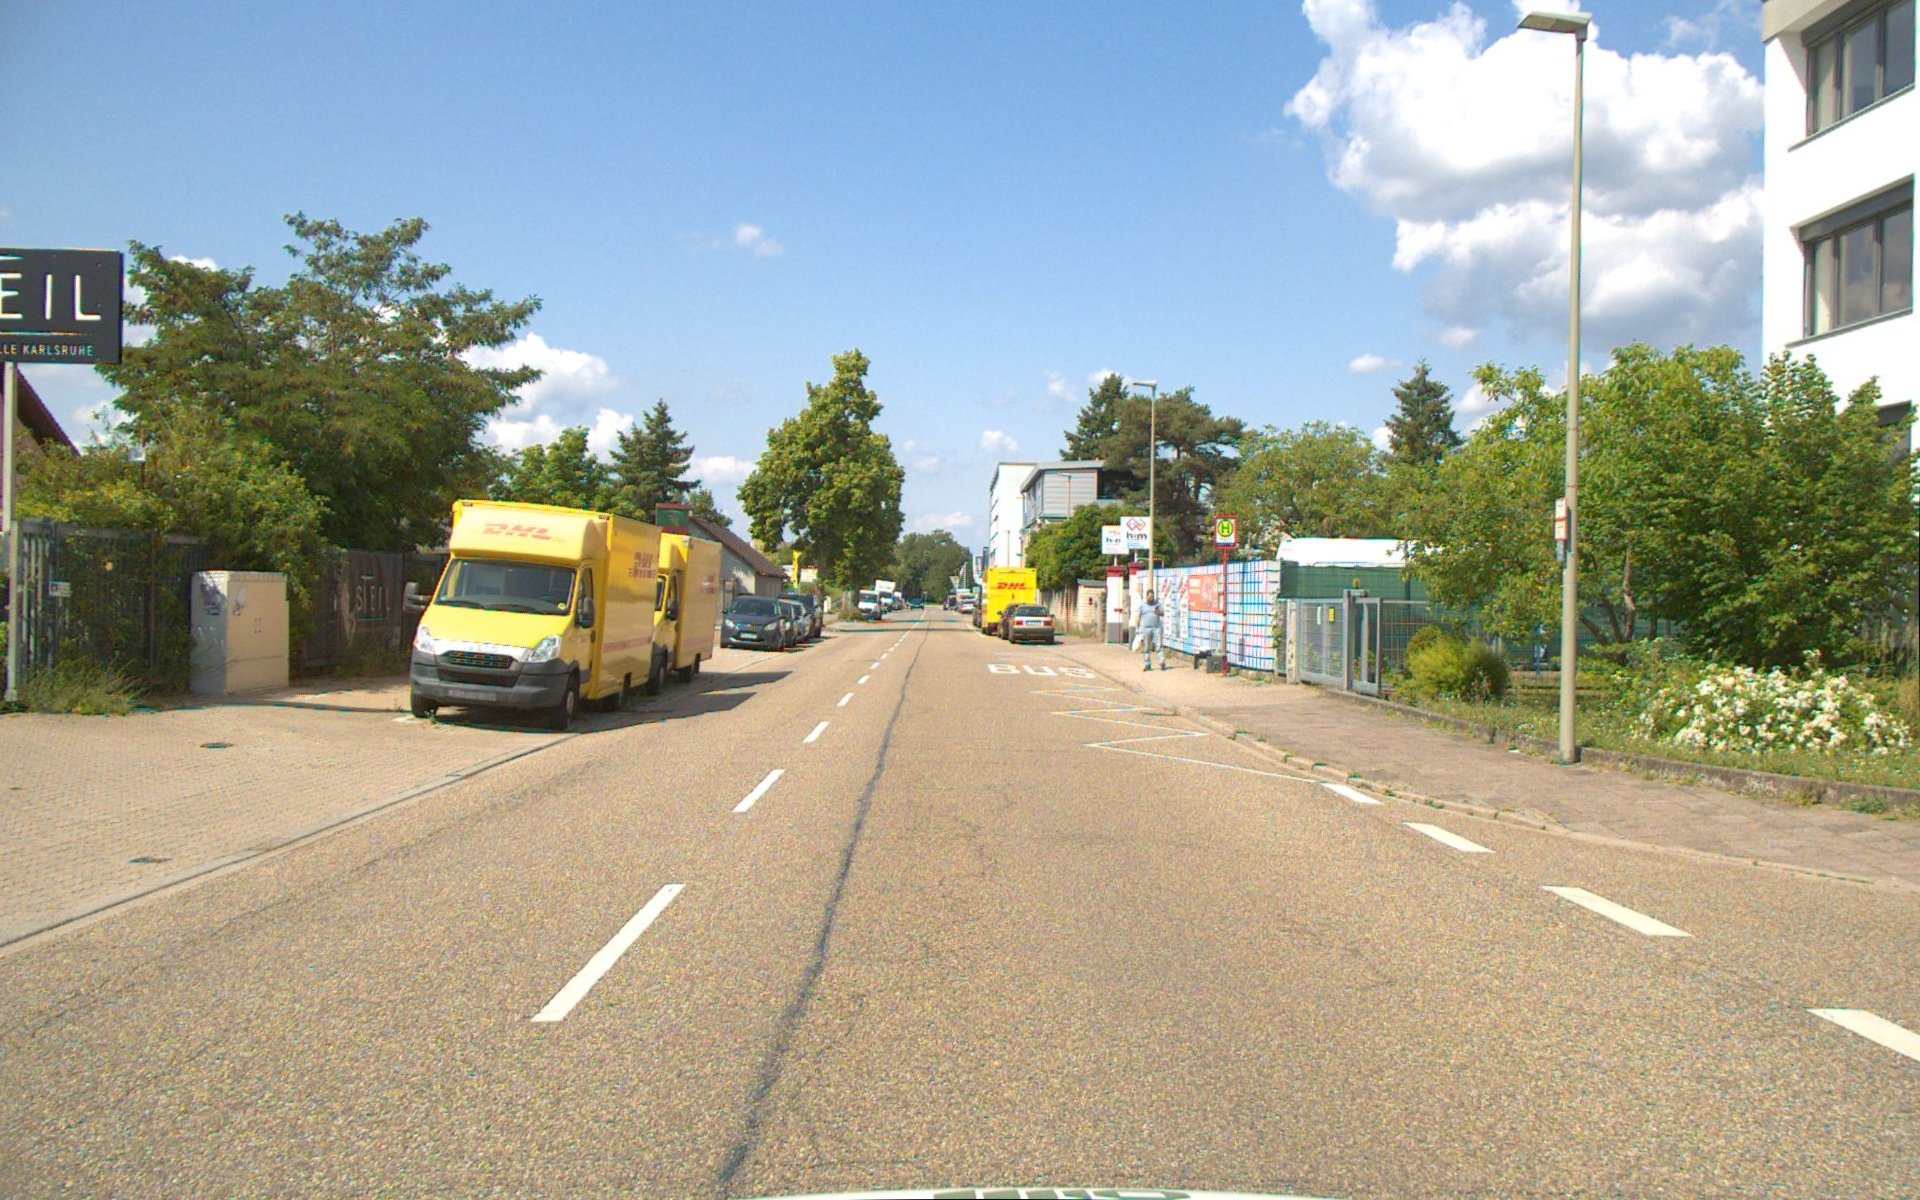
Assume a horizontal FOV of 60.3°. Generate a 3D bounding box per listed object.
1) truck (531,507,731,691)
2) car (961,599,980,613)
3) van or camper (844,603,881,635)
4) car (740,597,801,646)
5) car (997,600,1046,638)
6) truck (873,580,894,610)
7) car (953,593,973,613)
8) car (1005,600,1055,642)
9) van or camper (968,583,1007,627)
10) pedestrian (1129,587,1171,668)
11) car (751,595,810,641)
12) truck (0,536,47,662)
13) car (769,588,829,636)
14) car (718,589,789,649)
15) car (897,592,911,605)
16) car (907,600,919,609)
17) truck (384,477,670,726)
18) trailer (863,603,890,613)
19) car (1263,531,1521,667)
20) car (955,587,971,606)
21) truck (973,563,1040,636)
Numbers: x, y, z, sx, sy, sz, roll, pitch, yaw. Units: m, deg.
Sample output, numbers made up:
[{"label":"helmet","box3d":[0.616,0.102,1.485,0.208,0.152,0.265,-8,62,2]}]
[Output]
[{"label":"truck","box3d":[-5.945,-0.029,30.987,2.269,2.912,7.103,3,0,-1]},{"label":"car","box3d":[1.035,0.560,166.104,1.889,1.333,3.999,1,0,-1]},{"label":"van or camper","box3d":[-7.797,1.485,132.749,2.128,2.455,7.699,1,0,2]},{"label":"car","box3d":[-6.352,0.698,55.792,1.595,1.473,4.025,5,0,-2]},{"label":"car","box3d":[2.444,0.749,66.633,1.628,1.466,4.281,1,0,-2]},{"label":"truck","box3d":[-8.174,-0.527,178.099,1.988,3.209,6.499,1,0,-1]},{"label":"car","box3d":[0.308,0.313,179.777,2.171,2.049,5.484,1,0,-1]},{"label":"car","box3d":[2.579,0.758,61.862,1.618,1.411,4.422,2,1,-1]},{"label":"van or camper","box3d":[1.538,0.265,93.755,1.953,2.331,5.447,2,0,-1]},{"label":"pedestrian","box3d":[4.183,0.599,36.420,0.702,1.726,0.522,-4,0,-6]},{"label":"car","box3d":[-6.664,0.645,61.724,1.698,1.544,4.741,3,0,-1]},{"label":"truck","box3d":[-20.668,-0.038,31.879,2.065,2.531,5.725,1,0,13]},{"label":"car","box3d":[-6.539,0.481,67.565,1.879,1.854,4.786,1,0,1]},{"label":"car","box3d":[-6.287,0.559,50.709,1.690,1.632,4.412,4,0,-3]},{"label":"car","box3d":[-7.380,-0.164,218.727,1.678,1.679,3.999,1,0,-1]},{"label":"car","box3d":[-6.607,0.629,233.078,1.621,1.348,4.416,1,0,-1]},{"label":"truck","box3d":[-5.811,0.046,23.396,2.223,2.904,7.172,2,-1,-1]},{"label":"trailer","box3d":[-8.221,0.788,163.596,2.368,0.828,5.536,3,0,0]},{"label":"car","box3d":[9.004,-0.008,34.695,4.815,2.698,2.069,1,0,-9]},{"label":"car","box3d":[0.349,-0.387,190.349,1.673,2.126,3.999,1,0,-1]},{"label":"truck","box3d":[1.994,-0.010,73.476,2.425,2.991,7.185,2,0,-2]}]
